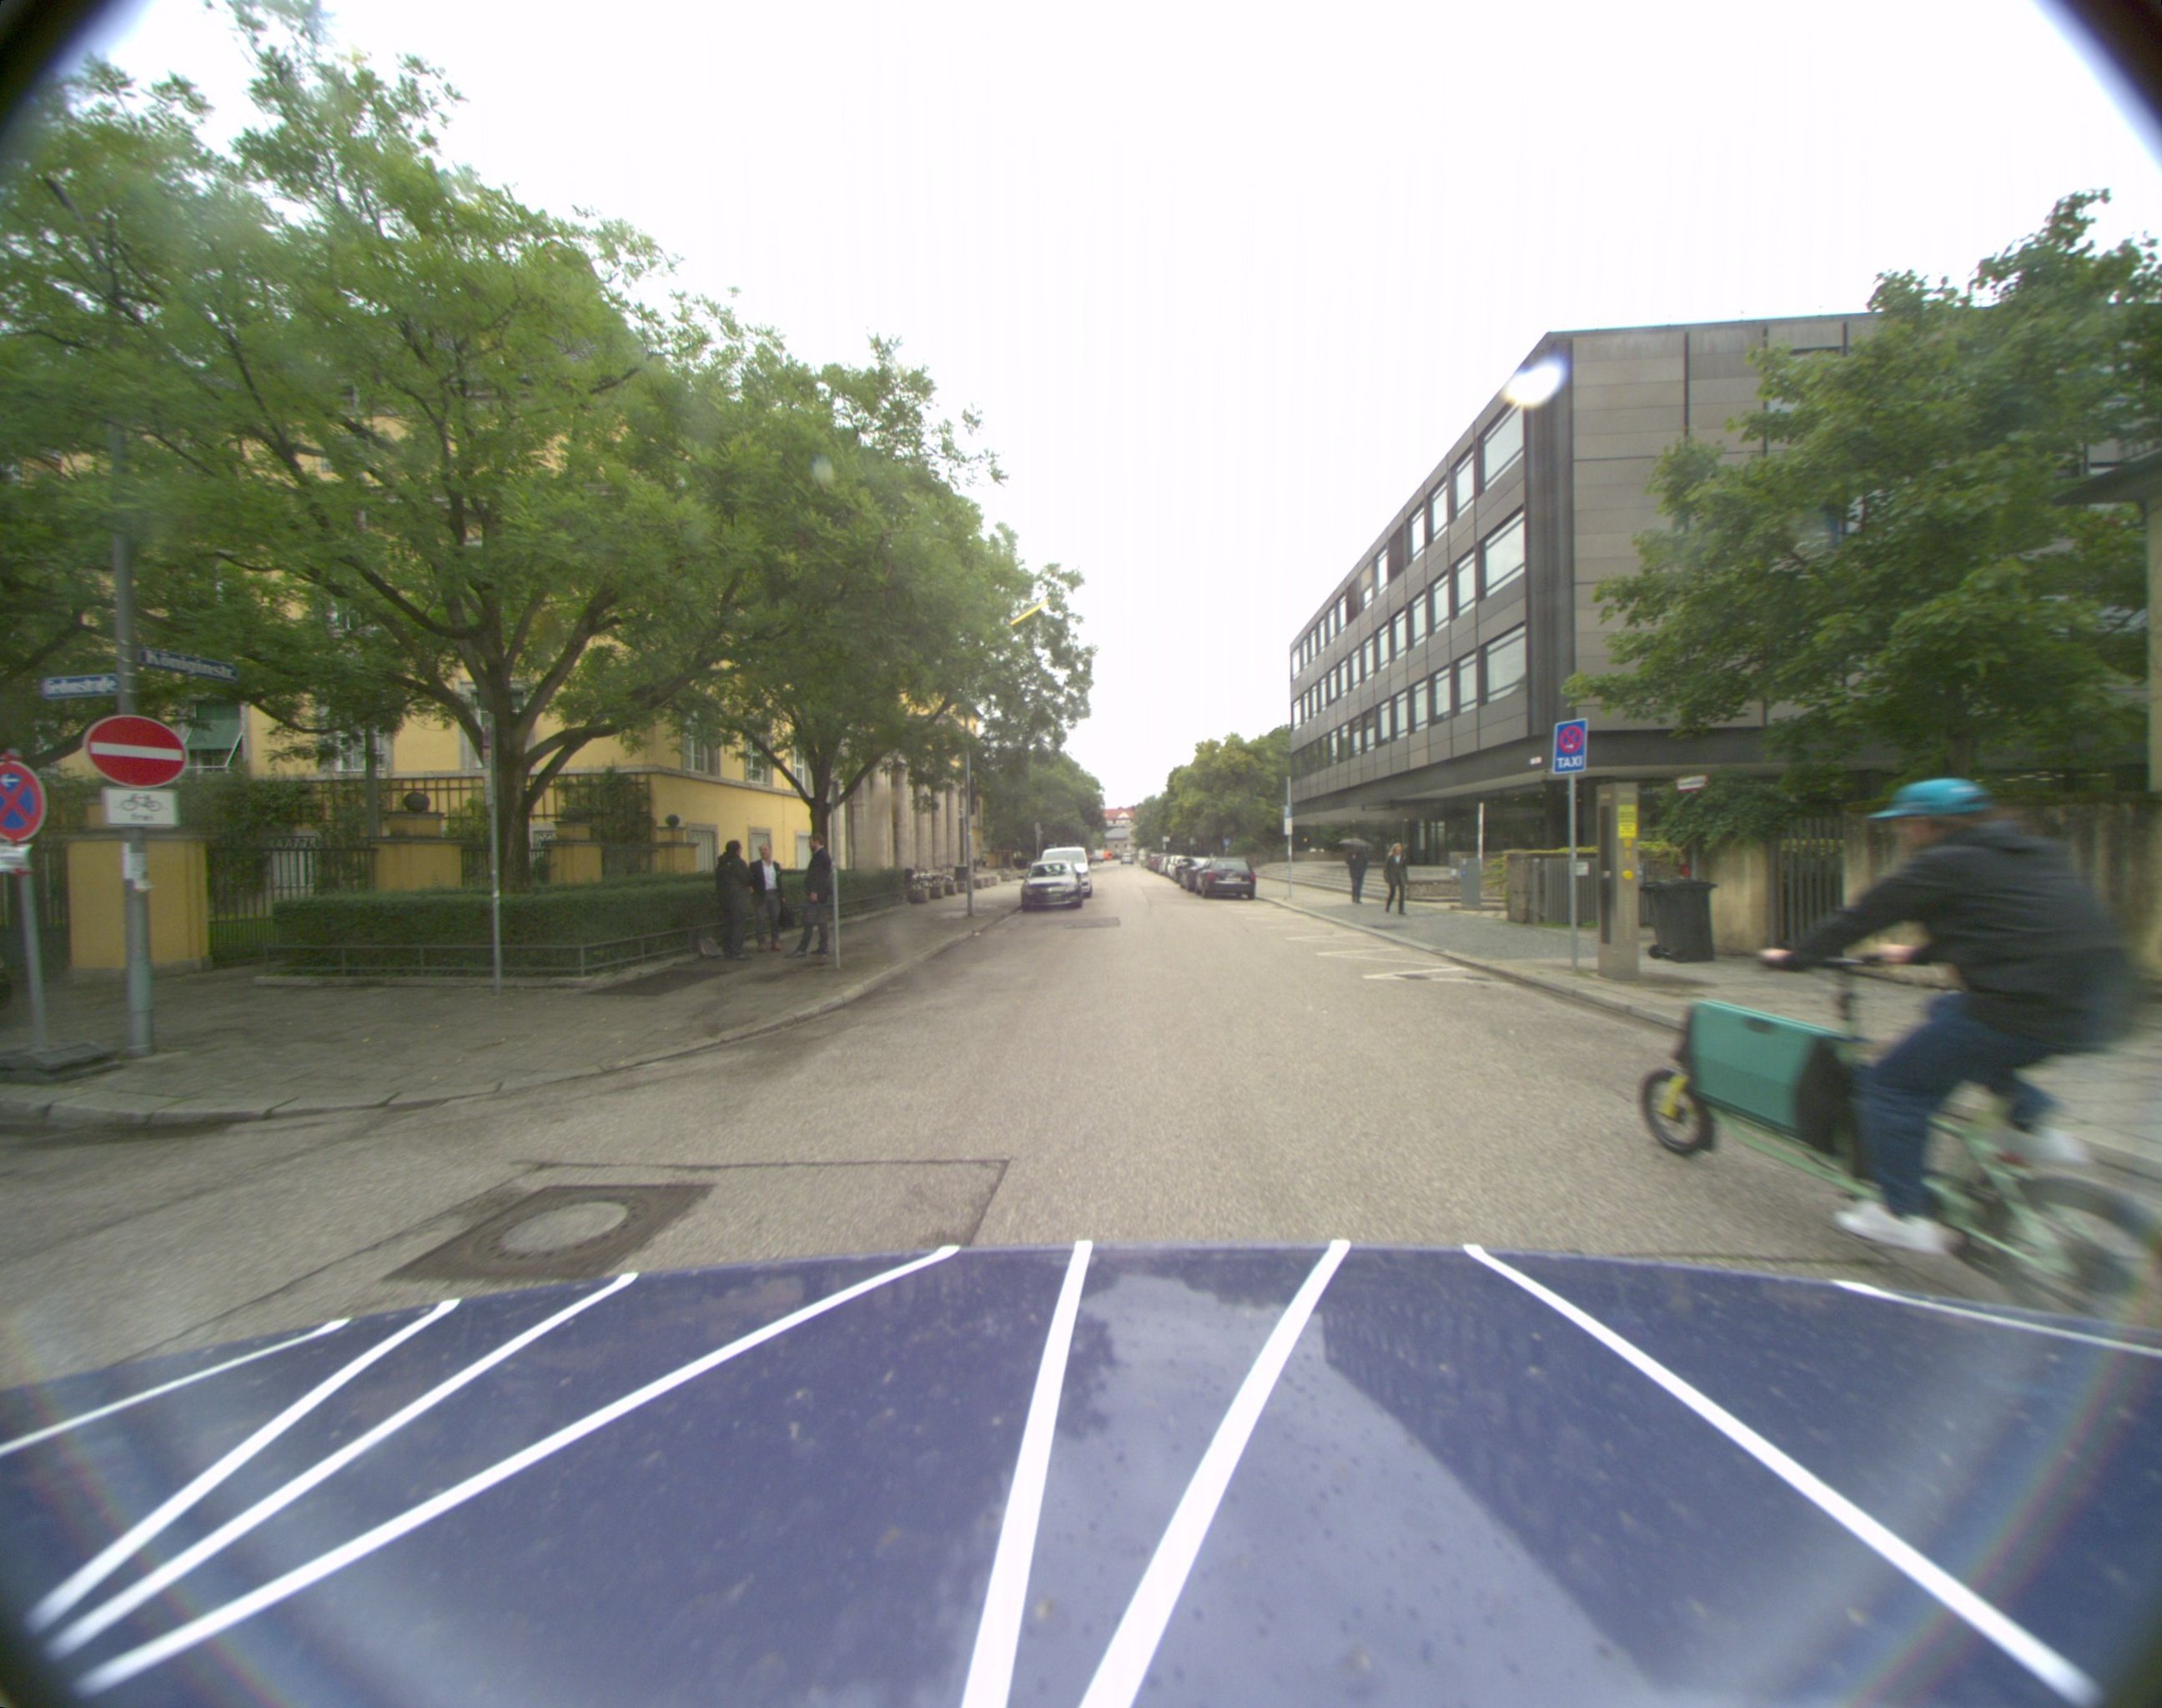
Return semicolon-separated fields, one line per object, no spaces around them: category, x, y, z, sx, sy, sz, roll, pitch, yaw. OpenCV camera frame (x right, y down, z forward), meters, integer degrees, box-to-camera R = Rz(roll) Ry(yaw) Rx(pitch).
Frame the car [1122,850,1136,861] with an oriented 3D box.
car;7.649;0.244;120.659;2.029;1.679;4.678;0;0;4

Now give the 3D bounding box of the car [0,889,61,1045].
car;-12.524;1.143;7.005;4.213;1.477;1.870;-1;1;8

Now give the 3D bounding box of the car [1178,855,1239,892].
car;5.450;0.787;32.999;1.927;1.431;4.918;1;1;1

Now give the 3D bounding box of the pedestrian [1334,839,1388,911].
pedestrian;8.077;0.589;21.994;1.138;2.043;1.221;-1;1;2

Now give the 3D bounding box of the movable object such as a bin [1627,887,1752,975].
movable object such as a bin;7.926;0.983;9.938;0.937;1.057;0.840;-1;0;1

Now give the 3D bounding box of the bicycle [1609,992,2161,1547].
bicycle;2.916;1.177;2.646;0.623;0.998;2.140;1;0;-1

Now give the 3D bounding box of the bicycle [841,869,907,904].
bicycle;-6.775;1.063;24.920;2.036;1.107;0.471;0;1;0

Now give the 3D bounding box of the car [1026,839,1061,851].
car;-5.497;-1.245;111.060;4.908;1.672;1.966;-1;1;1

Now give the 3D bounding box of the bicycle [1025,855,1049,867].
bicycle;-4.287;0.689;74.194;2.264;1.053;0.601;4;1;-8

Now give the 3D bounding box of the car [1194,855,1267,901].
car;5.334;0.804;27.735;1.998;1.482;4.884;0;1;4

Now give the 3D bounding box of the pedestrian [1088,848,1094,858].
pedestrian;1.877;-0.238;142.075;0.777;1.855;0.997;-4;1;-5

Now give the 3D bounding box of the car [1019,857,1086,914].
car;-0.787;0.893;23.901;1.775;1.481;4.973;-4;0;1

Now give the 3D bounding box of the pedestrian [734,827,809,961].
pedestrian;-5.101;0.635;12.571;0.744;2.122;1.056;0;1;2

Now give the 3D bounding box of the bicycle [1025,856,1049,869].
bicycle;-4.204;0.786;72.518;2.264;1.088;0.601;4;1;-8

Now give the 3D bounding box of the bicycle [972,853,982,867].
bicycle;-10.006;0.593;73.185;0.601;1.299;2.264;0;1;3

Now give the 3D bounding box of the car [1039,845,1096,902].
car;-0.435;0.703;29.871;1.849;1.922;5.273;-4;0;2

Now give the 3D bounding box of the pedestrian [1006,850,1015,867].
pedestrian;-7.418;0.441;79.931;0.790;1.736;1.056;0;1;2

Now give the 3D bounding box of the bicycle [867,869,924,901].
bicycle;-6.645;1.095;27.197;1.935;1.107;0.471;0;1;5

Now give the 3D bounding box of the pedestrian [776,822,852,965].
pedestrian;-4.110;0.585;11.778;0.744;2.122;1.056;0;1;2

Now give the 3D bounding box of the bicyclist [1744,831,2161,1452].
bicyclist;2.893;0.722;2.398;0.745;1.567;0.977;-1;1;1

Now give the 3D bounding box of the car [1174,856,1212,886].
car;6.008;0.876;41.284;1.743;1.452;4.238;1;1;4

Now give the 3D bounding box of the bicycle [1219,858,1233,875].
bicycle;10.121;0.879;53.127;0.644;1.157;1.527;-3;0;2

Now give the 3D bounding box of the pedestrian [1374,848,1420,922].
pedestrian;7.738;0.740;18.646;0.754;1.739;0.953;-3;1;9

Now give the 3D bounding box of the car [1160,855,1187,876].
car;6.922;0.845;56.963;1.762;1.392;4.218;2;0;4

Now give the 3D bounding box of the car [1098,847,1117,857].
car;7.605;-0.654;218.267;2.577;2.521;4.974;-5;1;-44

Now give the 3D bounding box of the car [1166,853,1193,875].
car;6.680;0.662;51.868;1.547;1.462;3.553;1;0;3

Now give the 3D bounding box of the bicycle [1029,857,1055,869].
bicycle;-3.655;0.835;71.193;2.369;1.000;0.677;1;0;-6

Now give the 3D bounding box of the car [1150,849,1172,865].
car;7.968;0.294;75.718;1.998;1.535;4.365;0;0;4

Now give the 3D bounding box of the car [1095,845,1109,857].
car;4.290;-0.645;155.475;2.236;2.289;4.729;-4;1;-2

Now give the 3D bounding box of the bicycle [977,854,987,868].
bicycle;-9.881;0.691;75.542;0.601;1.299;2.165;0;1;3

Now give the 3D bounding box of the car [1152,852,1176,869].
car;7.525;0.549;69.318;1.998;1.452;4.648;0;0;4

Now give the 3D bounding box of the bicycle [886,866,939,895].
bicycle;-6.485;1.005;29.266;1.935;1.107;0.471;0;1;5

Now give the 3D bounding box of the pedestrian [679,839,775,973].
pedestrian;-5.286;0.730;11.368;0.742;1.896;1.058;0;1;39

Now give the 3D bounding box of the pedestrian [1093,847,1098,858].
pedestrian;2.739;-0.296;141.953;0.777;1.855;0.997;-4;1;-3

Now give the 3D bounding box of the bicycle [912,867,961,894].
bicycle;-5.972;1.096;31.430;1.936;1.107;0.471;0;1;0

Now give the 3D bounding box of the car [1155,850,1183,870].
car;7.258;0.495;62.890;1.998;1.574;4.522;0;0;3

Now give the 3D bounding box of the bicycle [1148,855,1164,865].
bicycle;8.391;0.669;85.136;1.700;1.101;0.598;-2;1;-5

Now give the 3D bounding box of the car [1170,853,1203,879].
car;6.381;0.718;46.306;1.685;1.432;4.280;1;1;4

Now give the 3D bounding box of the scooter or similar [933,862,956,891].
scooter or similar;-5.870;0.941;32.716;0.539;1.215;1.009;-1;1;-42
